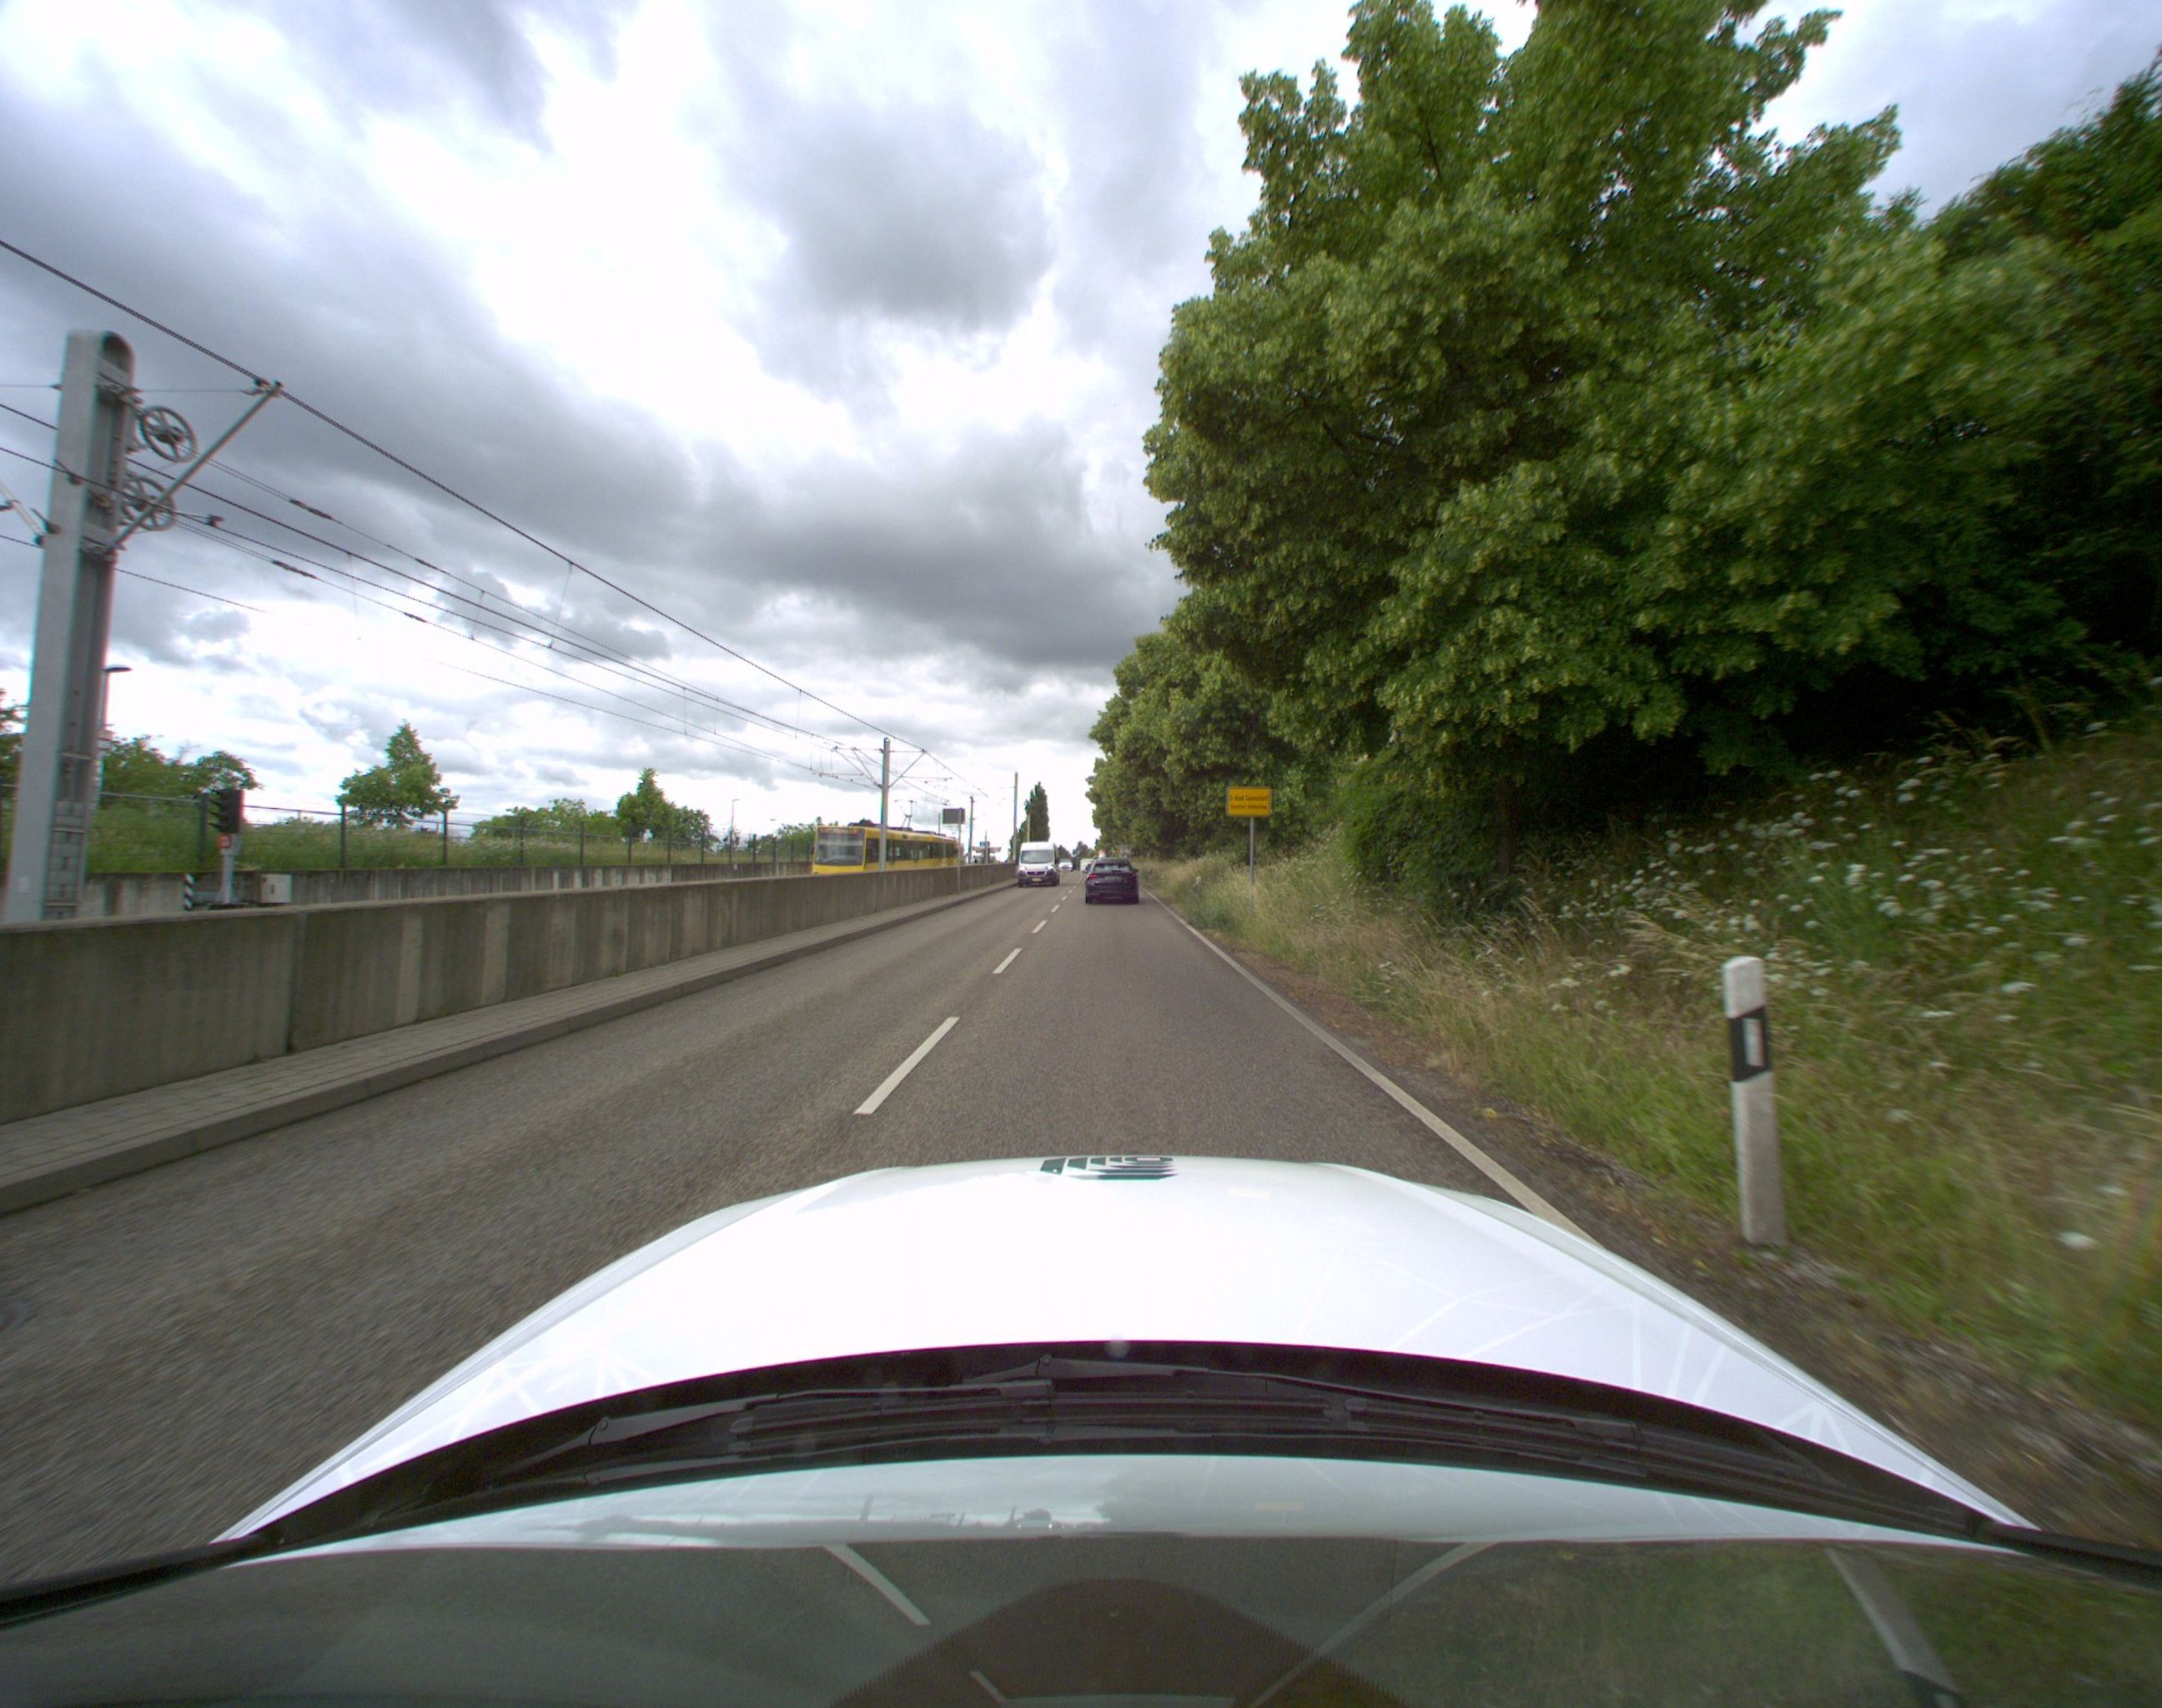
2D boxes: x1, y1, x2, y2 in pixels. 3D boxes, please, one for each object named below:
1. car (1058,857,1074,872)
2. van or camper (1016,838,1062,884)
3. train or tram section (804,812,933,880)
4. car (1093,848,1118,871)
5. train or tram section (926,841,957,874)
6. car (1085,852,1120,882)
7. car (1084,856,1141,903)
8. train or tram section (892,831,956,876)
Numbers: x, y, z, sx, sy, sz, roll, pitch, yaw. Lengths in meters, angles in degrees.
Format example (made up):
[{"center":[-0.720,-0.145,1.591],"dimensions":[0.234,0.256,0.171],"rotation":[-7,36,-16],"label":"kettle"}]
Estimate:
[{"center":[-1.758,1.168,92.258],"dimensions":[1.727,1.572,3.997],"rotation":[-2,0,-2],"label":"car"},{"center":[-2.284,0.395,45.886],"dimensions":[2.075,2.396,6.138],"rotation":[-1,0,1],"label":"van or camper"},{"center":[-11.577,-0.196,47.223],"dimensions":[2.803,3.117,18.904],"rotation":[-1,-1,-1],"label":"train or tram section"},{"center":[2.012,0.472,67.100],"dimensions":[1.986,1.740,4.001],"rotation":[-1,-1,1],"label":"car"},{"center":[-14.414,0.505,85.096],"dimensions":[2.800,3.025,19.247],"rotation":[-1,-1,-9],"label":"train or tram section"},{"center":[1.272,0.752,48.886],"dimensions":[1.986,1.753,4.001],"rotation":[-1,0,1],"label":"car"},{"center":[1.043,0.807,27.517],"dimensions":[1.775,1.468,4.001],"rotation":[-1,0,1],"label":"car"},{"center":[-12.352,0.150,66.205],"dimensions":[2.798,3.077,19.072],"rotation":[-1,-1,-4],"label":"train or tram section"}]
